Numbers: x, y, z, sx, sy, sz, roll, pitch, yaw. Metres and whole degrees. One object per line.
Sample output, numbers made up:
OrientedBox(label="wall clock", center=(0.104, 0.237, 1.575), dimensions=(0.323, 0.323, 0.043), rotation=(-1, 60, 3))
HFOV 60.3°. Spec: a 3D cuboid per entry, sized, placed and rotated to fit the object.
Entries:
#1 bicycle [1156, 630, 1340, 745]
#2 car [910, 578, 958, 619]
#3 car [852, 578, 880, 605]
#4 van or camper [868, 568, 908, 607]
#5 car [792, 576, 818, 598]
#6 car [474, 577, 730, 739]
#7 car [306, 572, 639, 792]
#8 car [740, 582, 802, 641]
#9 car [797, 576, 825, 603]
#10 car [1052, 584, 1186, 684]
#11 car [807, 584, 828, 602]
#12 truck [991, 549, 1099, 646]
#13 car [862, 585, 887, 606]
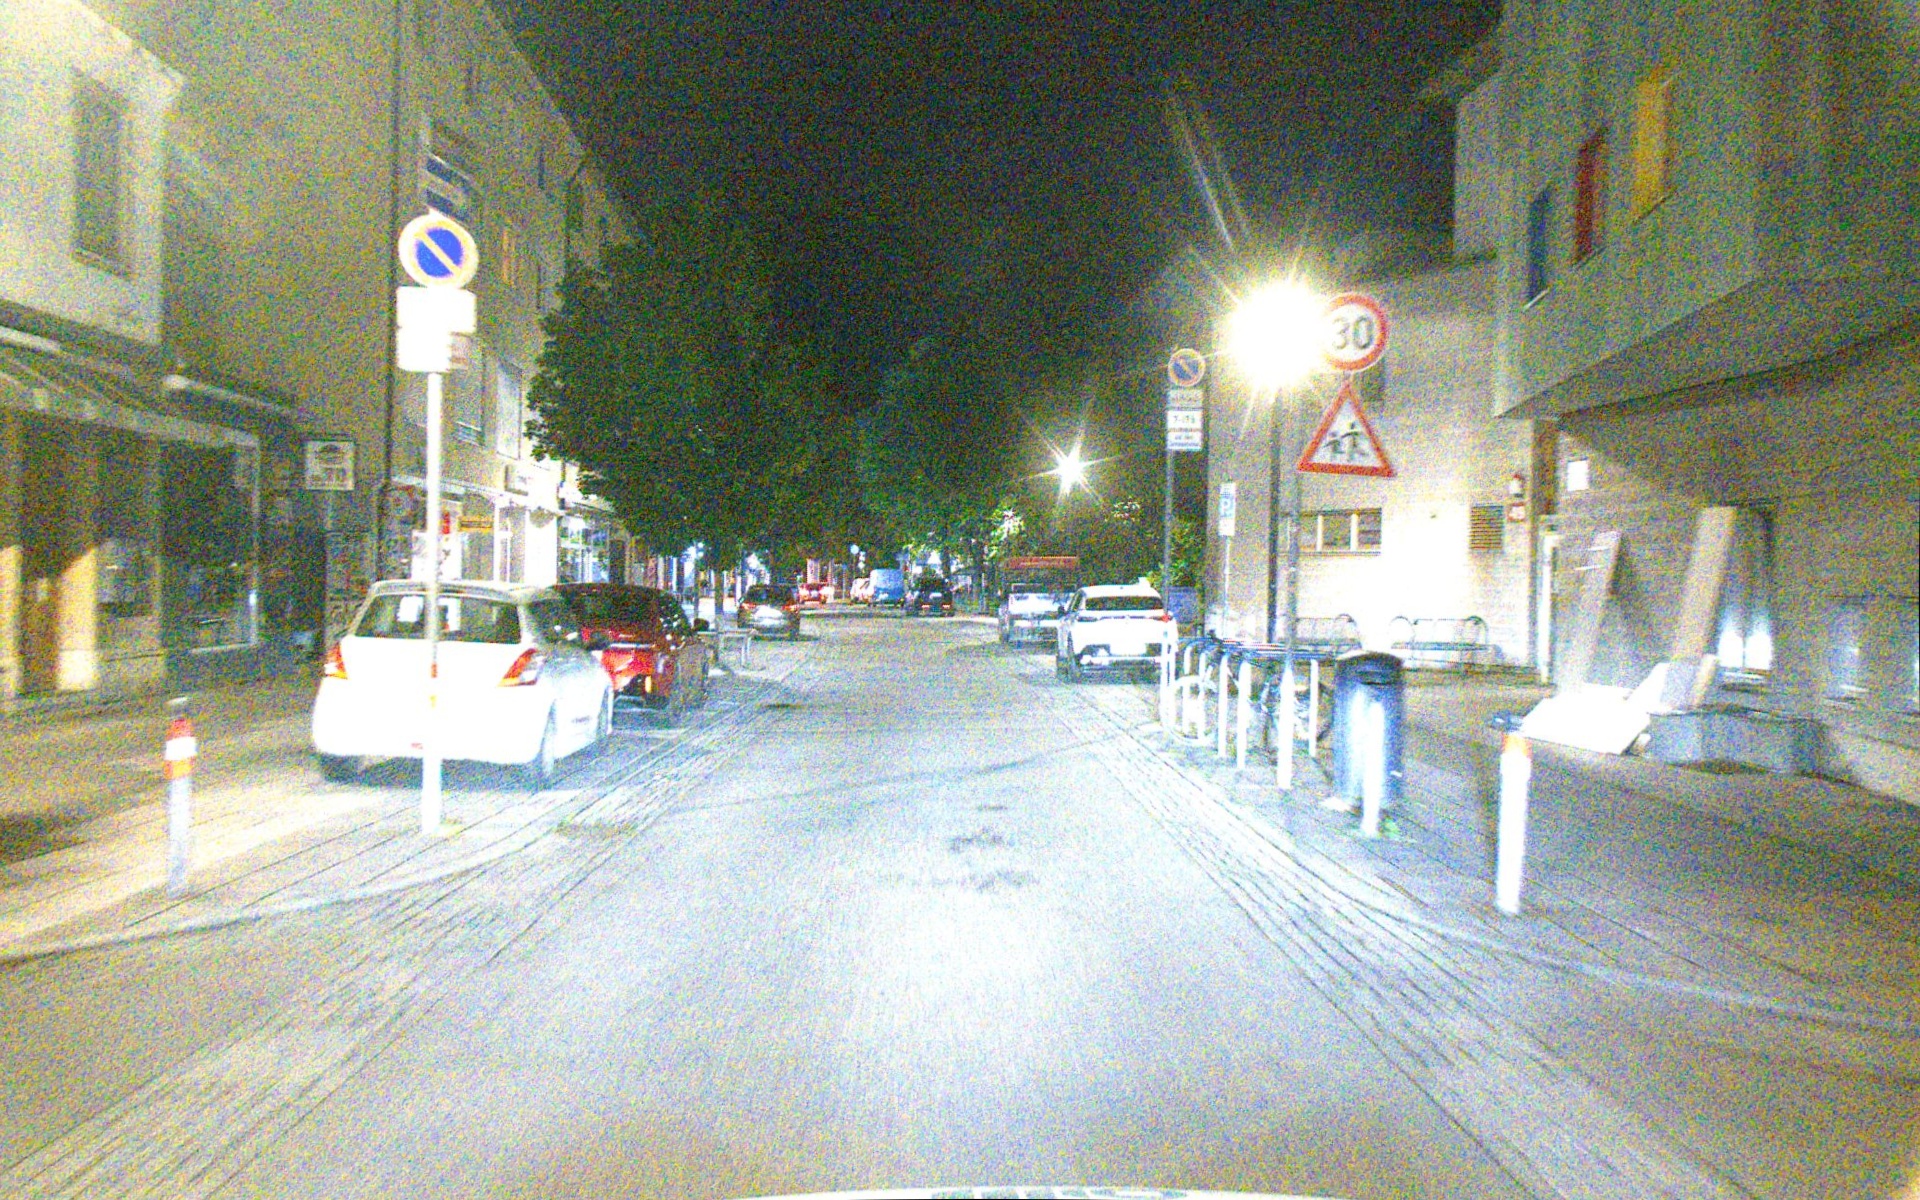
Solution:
OrientedBox(label="bicycle", center=(2.774, 0.842, 15.964), dimensions=(1.720, 1.080, 0.346), rotation=(0, 0, -5))
OrientedBox(label="car", center=(-1.266, -0.098, 78.255), dimensions=(1.781, 1.860, 4.340), rotation=(0, 1, -8))
OrientedBox(label="car", center=(-6.981, -0.625, 122.880), dimensions=(1.804, 1.934, 3.840), rotation=(0, 0, -7))
OrientedBox(label="van or camper", center=(-4.550, -0.791, 104.131), dimensions=(2.069, 2.357, 4.254), rotation=(-1, 1, -8))
OrientedBox(label="car", center=(-12.564, -1.033, 133.952), dimensions=(1.955, 1.732, 3.994), rotation=(1, 0, -7))
OrientedBox(label="car", center=(-3.941, 0.562, 19.117), dimensions=(1.979, 1.513, 5.005), rotation=(4, 0, -2))
OrientedBox(label="car", center=(-3.787, 0.560, 13.514), dimensions=(1.694, 1.502, 3.845), rotation=(2, 0, -3))
OrientedBox(label="car", center=(-5.390, 0.293, 46.914), dimensions=(1.642, 1.570, 4.223), rotation=(2, 0, -7))
OrientedBox(label="car", center=(-10.804, -0.760, 120.121), dimensions=(1.955, 1.855, 3.995), rotation=(1, 0, -6))
OrientedBox(label="car", center=(2.559, 0.500, 27.438), dimensions=(1.753, 1.517, 4.058), rotation=(-1, 0, -1))
OrientedBox(label="car", center=(-12.891, -0.626, 149.723), dimensions=(1.804, 1.569, 3.840), rotation=(0, 0, -7))
OrientedBox(label="truck", center=(2.115, -0.093, 42.943), dimensions=(2.289, 2.352, 5.778), rotation=(0, 1, -2))
OrientedBox(label="car", center=(-6.044, -0.362, 116.790), dimensions=(1.502, 1.443, 3.840), rotation=(0, 0, -7))
